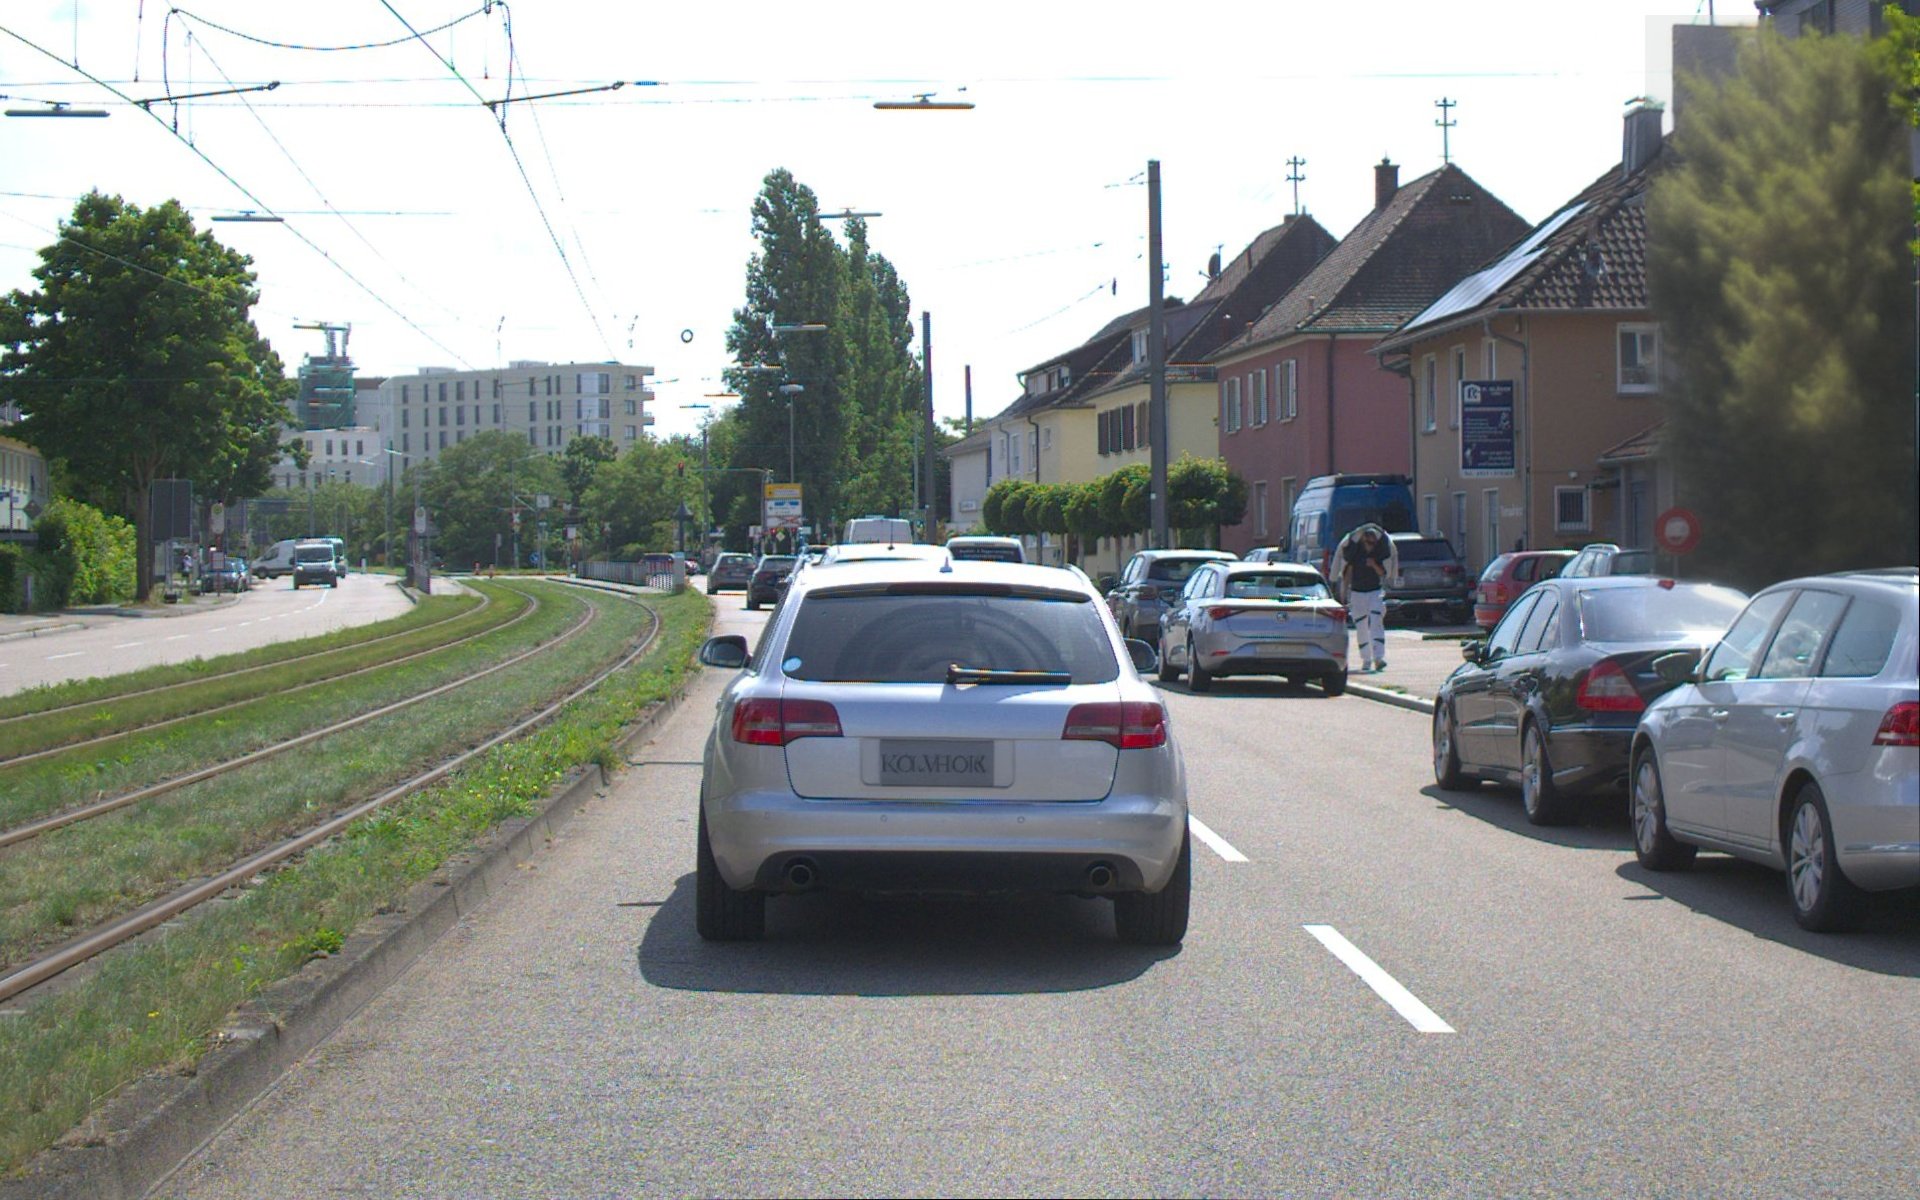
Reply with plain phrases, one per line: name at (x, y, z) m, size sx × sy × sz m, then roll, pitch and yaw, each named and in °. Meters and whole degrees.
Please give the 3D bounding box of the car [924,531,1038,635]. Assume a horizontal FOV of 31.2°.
car at (0.387, -0.316, 59.584) m, size 1.885 × 1.725 × 4.094 m, roll 0°, pitch 1°, yaw 1°

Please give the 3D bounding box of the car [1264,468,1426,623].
car at (7.672, -1.062, 69.192) m, size 2.151 × 2.920 × 6.245 m, roll 1°, pitch 0°, yaw -3°

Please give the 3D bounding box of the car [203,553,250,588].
car at (-33.858, -1.357, 158.764) m, size 1.786 × 1.578 × 3.931 m, roll 0°, pitch 1°, yaw -7°

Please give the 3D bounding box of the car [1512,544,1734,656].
car at (8.980, -0.036, 46.950) m, size 1.798 × 1.419 × 4.858 m, roll -1°, pitch 1°, yaw -3°

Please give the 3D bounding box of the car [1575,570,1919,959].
car at (4.256, 0.622, 15.369) m, size 1.890 × 1.450 × 5.007 m, roll 1°, pitch 0°, yaw -2°

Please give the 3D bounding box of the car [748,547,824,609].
car at (-4.507, -0.568, 89.139) m, size 1.885 × 1.525 × 4.095 m, roll 1°, pitch 0°, yaw -3°

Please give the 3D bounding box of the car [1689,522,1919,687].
car at (9.453, 0.027, 36.995) m, size 1.756 × 1.641 × 4.770 m, roll -1°, pitch 0°, yaw -6°

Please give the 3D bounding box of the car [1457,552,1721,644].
car at (9.631, -0.034, 52.781) m, size 3.648 × 1.376 × 1.727 m, roll 0°, pitch 0°, yaw -5°

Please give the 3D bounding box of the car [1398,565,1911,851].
car at (4.016, 0.549, 20.802) m, size 1.899 × 1.439 × 5.058 m, roll 1°, pitch 1°, yaw -2°

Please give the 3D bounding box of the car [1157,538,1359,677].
car at (3.333, 0.074, 39.200) m, size 1.814 × 1.449 × 4.643 m, roll 1°, pitch 0°, yaw -1°

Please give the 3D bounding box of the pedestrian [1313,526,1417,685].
pedestrian at (5.017, 0.067, 42.644) m, size 1.112 × 1.939 × 1.092 m, roll 0°, pitch 0°, yaw -3°

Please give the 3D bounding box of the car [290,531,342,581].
car at (-31.731, -2.139, 169.519) m, size 2.196 × 2.364 × 5.334 m, roll -2°, pitch 1°, yaw -8°

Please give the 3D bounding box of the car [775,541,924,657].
car at (-1.484, -0.047, 45.827) m, size 1.885 × 1.461 × 4.095 m, roll 0°, pitch 1°, yaw -2°

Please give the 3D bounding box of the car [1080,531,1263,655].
car at (2.791, -0.095, 46.257) m, size 1.807 × 1.554 × 4.254 m, roll 1°, pitch 0°, yaw -5°

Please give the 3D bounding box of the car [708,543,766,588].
car at (-7.801, -1.203, 120.511) m, size 1.885 × 1.525 × 4.095 m, roll 1°, pitch 0°, yaw -3°

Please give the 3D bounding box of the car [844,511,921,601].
car at (-2.278, -1.267, 99.774) m, size 2.040 × 2.549 × 5.232 m, roll 0°, pitch 1°, yaw -3°

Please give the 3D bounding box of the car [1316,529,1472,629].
car at (7.897, -0.410, 62.950) m, size 1.836 × 1.705 × 4.865 m, roll -2°, pitch 1°, yaw -4°

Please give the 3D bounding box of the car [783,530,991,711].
car at (-0.763, 0.159, 32.950) m, size 1.787 × 1.571 × 4.095 m, roll 2°, pitch 1°, yaw -3°

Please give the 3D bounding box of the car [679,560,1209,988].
car at (-0.045, 0.589, 14.402) m, size 1.854 × 1.487 × 4.536 m, roll 1°, pitch 1°, yaw 0°
